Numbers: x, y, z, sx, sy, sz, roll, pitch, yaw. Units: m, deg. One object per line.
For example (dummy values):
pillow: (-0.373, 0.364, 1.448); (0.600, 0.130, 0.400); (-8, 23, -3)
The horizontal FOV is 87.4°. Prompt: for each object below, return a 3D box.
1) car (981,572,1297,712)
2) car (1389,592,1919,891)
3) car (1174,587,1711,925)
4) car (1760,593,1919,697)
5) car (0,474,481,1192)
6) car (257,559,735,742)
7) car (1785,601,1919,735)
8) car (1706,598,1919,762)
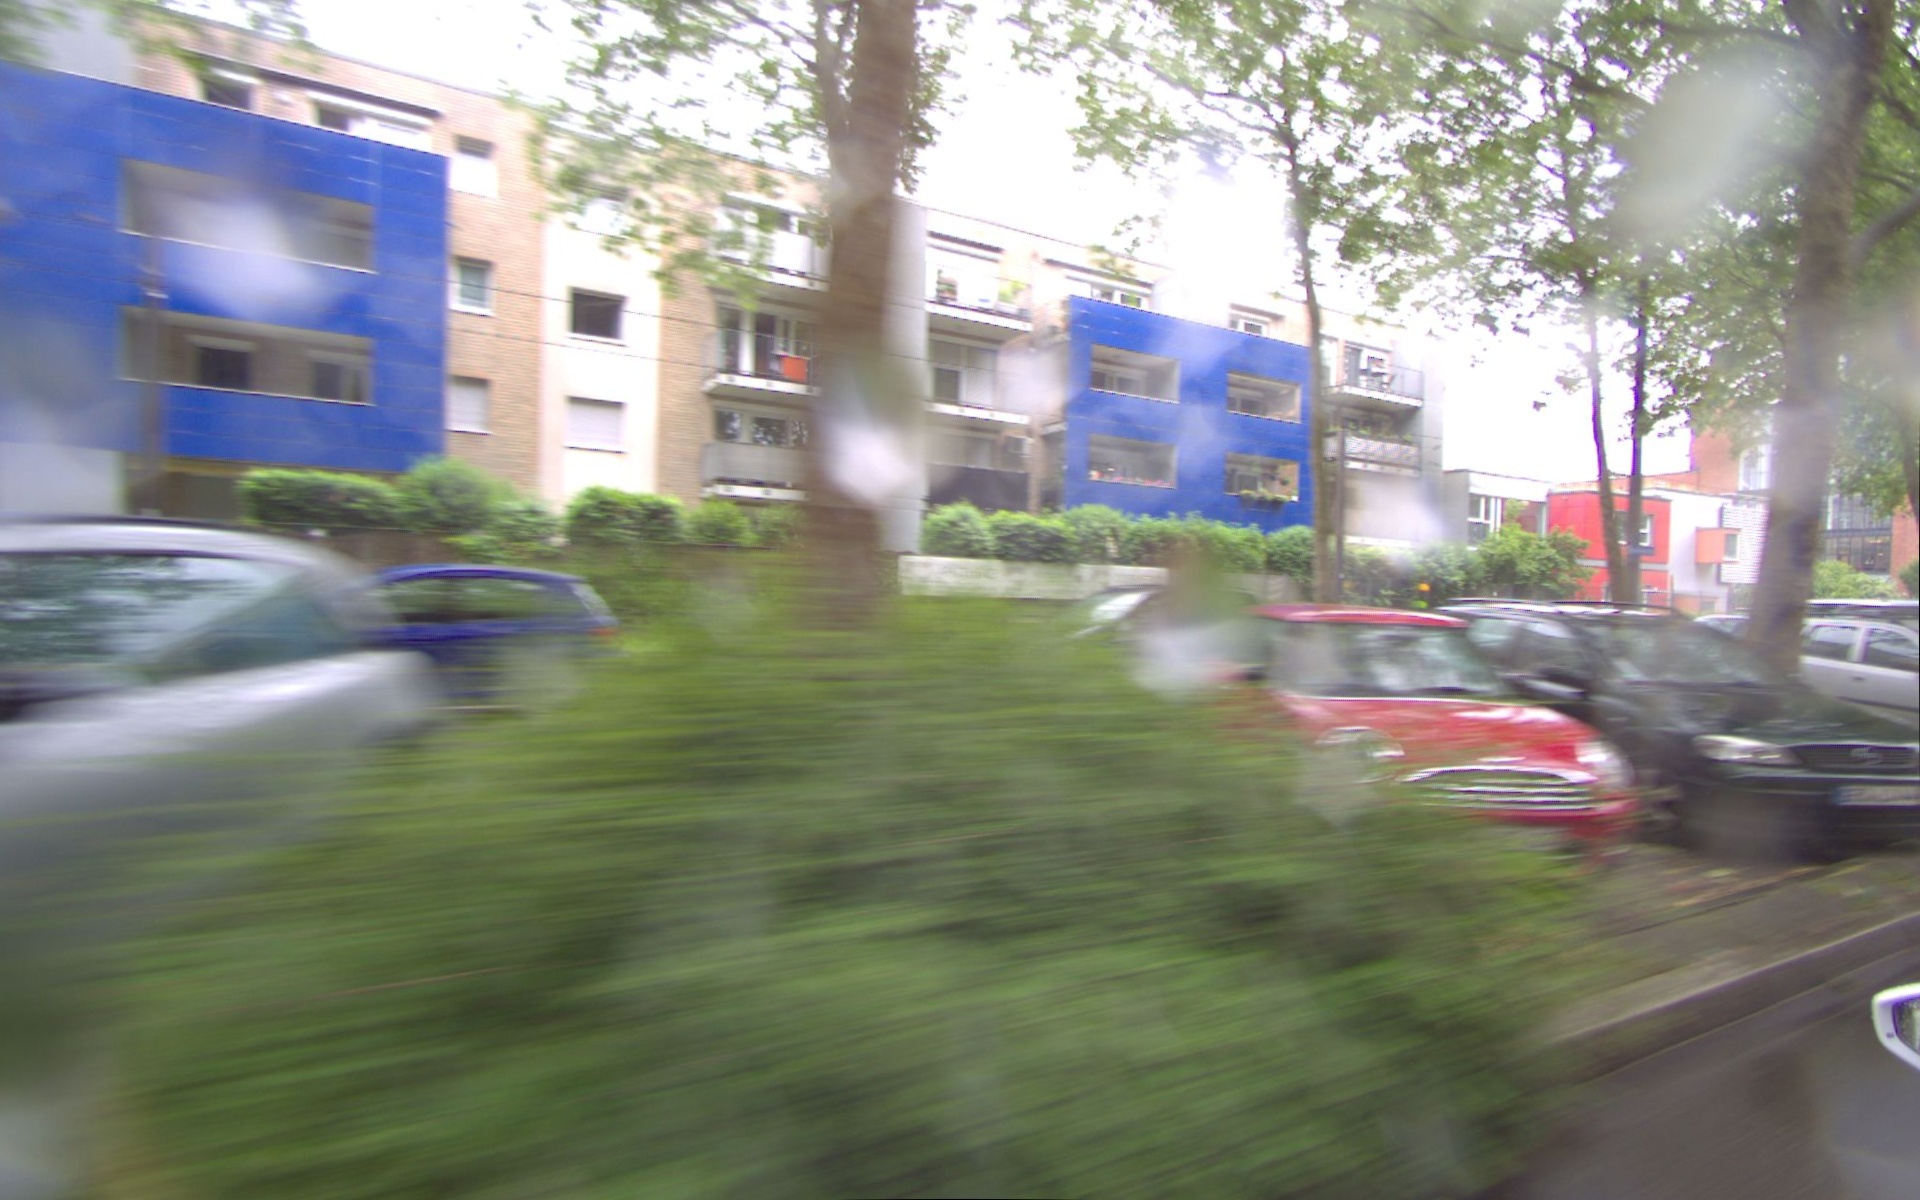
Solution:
car: (2.661, 0.547, 14.658); (4.372, 1.764, 1.893); (1, 1, -32)
car: (5.049, 0.756, 7.479); (1.710, 1.499, 4.228); (2, 1, -2)
car: (2.641, 0.708, 6.529); (1.709, 1.499, 3.653); (2, 1, 0)
car: (19.984, 0.938, 22.232); (5.104, 2.027, 2.025); (1, 1, -33)
car: (-3.007, 0.471, 2.629); (1.800, 1.558, 4.062); (2, 1, -5)
car: (-4.673, 0.438, 10.438); (4.169, 1.554, 1.893); (1, 1, -32)
car: (13.093, 0.883, 12.506); (1.892, 1.682, 4.416); (1, 0, -2)
car: (10.745, 0.856, 11.051); (1.835, 1.667, 4.419); (1, -1, 1)
